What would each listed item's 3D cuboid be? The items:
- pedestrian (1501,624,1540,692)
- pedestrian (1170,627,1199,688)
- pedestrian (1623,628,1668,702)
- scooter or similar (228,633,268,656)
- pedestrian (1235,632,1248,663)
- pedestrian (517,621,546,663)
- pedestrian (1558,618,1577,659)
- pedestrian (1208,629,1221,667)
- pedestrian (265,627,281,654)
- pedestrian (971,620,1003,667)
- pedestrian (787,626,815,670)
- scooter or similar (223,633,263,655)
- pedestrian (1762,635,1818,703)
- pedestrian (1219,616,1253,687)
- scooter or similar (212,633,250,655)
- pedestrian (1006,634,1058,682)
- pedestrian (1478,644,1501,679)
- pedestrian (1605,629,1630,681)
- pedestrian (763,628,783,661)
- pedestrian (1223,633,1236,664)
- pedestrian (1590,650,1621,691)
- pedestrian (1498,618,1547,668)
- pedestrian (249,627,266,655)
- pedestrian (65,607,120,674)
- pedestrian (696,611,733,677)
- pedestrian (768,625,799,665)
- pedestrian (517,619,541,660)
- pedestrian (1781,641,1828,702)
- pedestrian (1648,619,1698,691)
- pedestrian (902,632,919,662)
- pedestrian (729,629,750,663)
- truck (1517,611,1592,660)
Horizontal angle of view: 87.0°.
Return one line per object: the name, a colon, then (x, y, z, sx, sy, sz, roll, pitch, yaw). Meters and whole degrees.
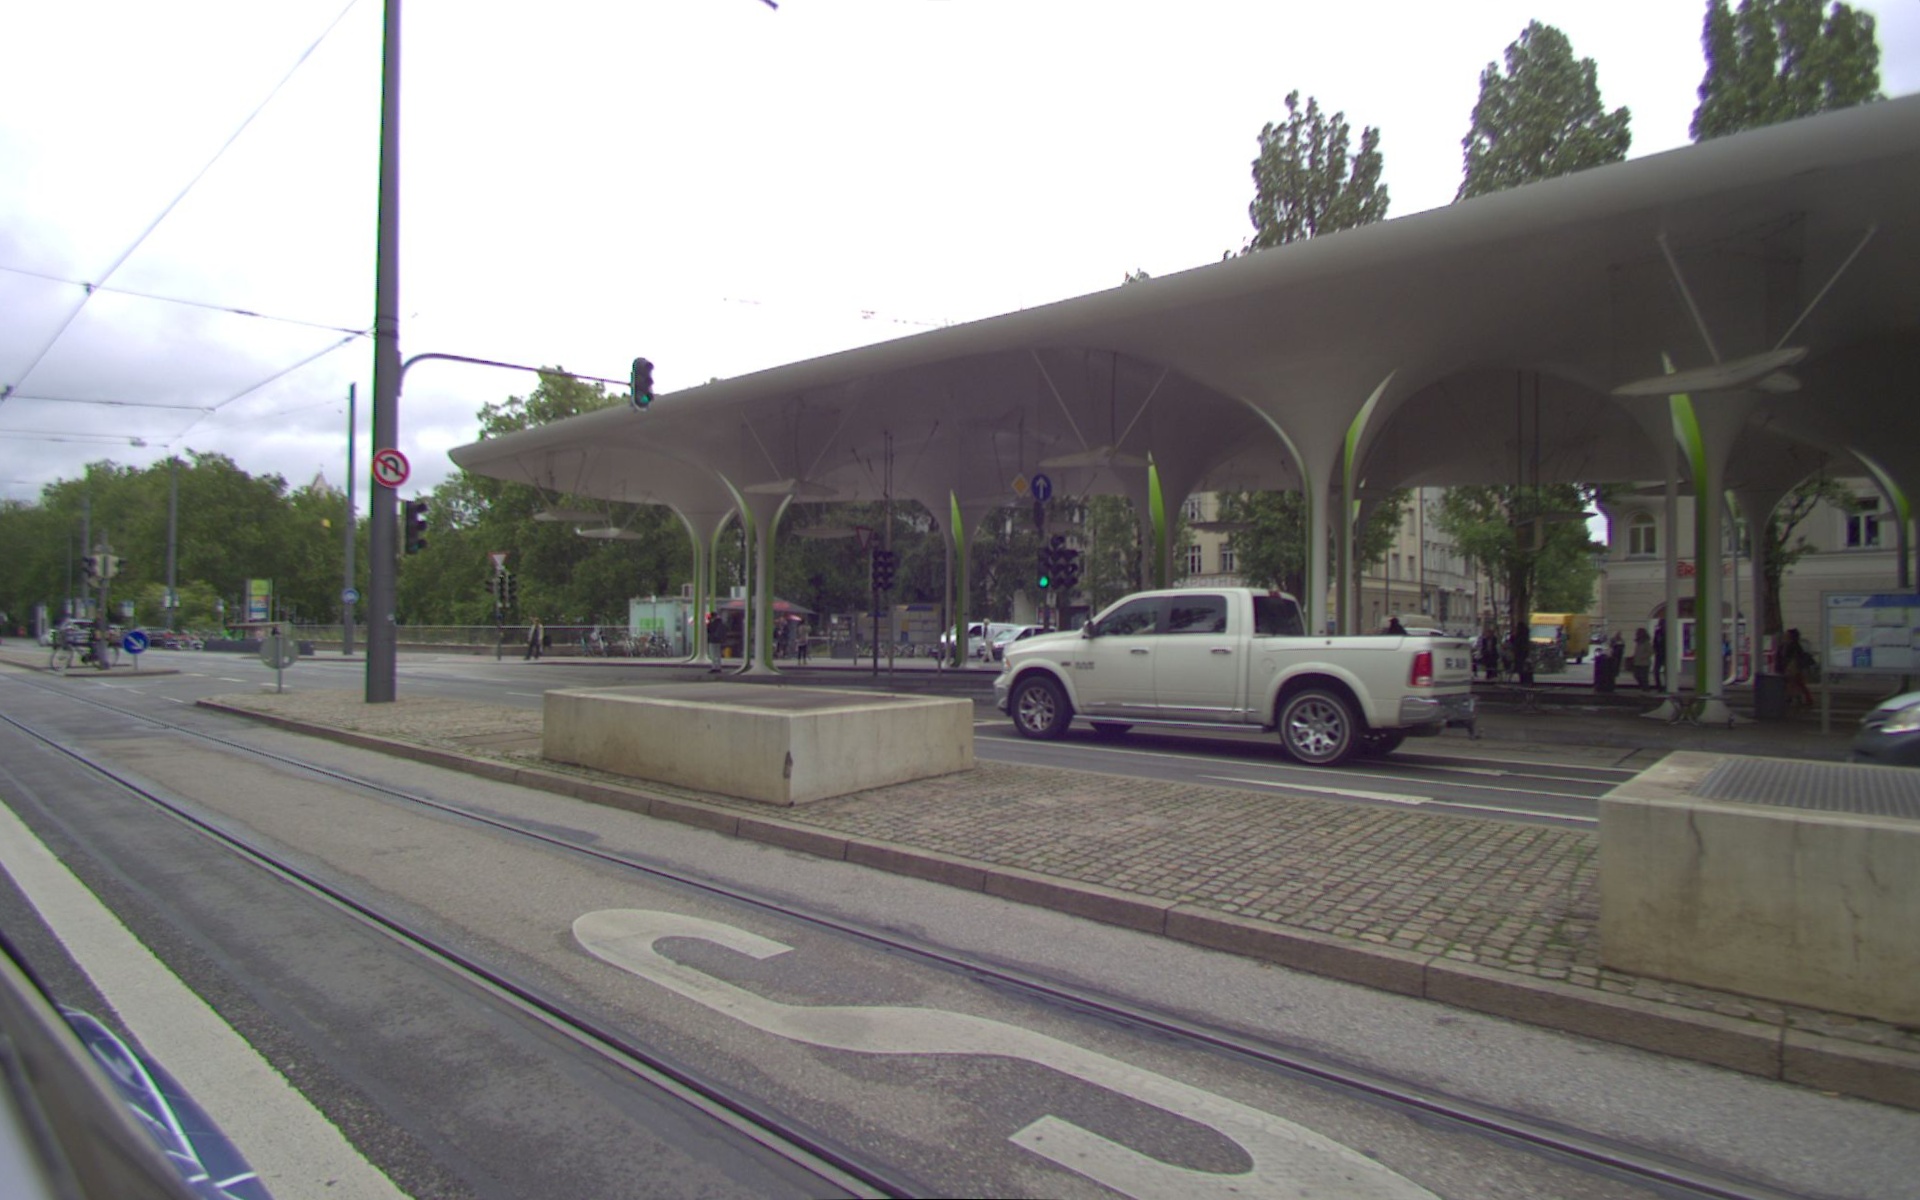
pedestrian: (13.225, 1.358, 23.884, 0.637, 1.576, 0.660, 0, -2, 16)
pedestrian: (5.839, 1.481, 26.280, 0.633, 1.557, 0.589, -1, -2, 24)
pedestrian: (15.444, 1.451, 22.803, 0.639, 1.630, 0.700, 2, -3, -45)
scooter or similar: (-38.404, 2.396, 54.584, 0.561, 1.181, 1.671, -2, -2, 38)
pedestrian: (15.157, 2.554, 54.564, 0.457, 1.638, 0.575, -1, 0, 38)
pedestrian: (-16.850, 1.655, 39.791, 0.737, 1.641, 0.734, -1, -2, 20)
pedestrian: (30.059, 1.905, 50.076, 0.659, 2.029, 0.573, 2, -2, -41)
pedestrian: (13.726, 2.589, 54.515, 0.457, 2.029, 0.575, -2, 0, 38)
pedestrian: (-39.849, 2.341, 58.716, 0.588, 1.570, 0.624, -2, -3, 40)
pedestrian: (1.200, 1.899, 44.483, 0.989, 2.029, 1.029, 2, -2, -41)
pedestrian: (-5.894, 1.760, 37.579, 0.831, 1.622, 0.745, 0, -2, 12)
scooter or similar: (-39.256, 2.416, 55.408, 0.561, 1.181, 1.671, -2, -2, 38)
pedestrian: (18.929, 1.558, 23.113, 0.894, 1.520, 0.737, -1, -2, 34)
pedestrian: (6.891, 1.272, 25.287, 0.663, 1.741, 0.809, 0, -2, 3)
scooter or similar: (-40.923, 2.457, 56.811, 0.558, 1.181, 1.681, -1, -2, 22)
pedestrian: (1.933, 1.550, 27.320, 0.799, 1.239, 1.274, 1, -2, -30)
pedestrian: (16.876, 1.963, 32.241, 0.576, 1.092, 0.512, -1, -2, 34)
pedestrian: (23.579, 1.964, 36.282, 0.549, 1.828, 0.556, 1, -2, -37)
pedestrian: (-9.222, 2.188, 49.854, 0.728, 1.612, 0.799, 1, -2, -34)
pedestrian: (14.387, 2.573, 54.071, 0.457, 1.638, 0.575, -1, 0, 38)
pedestrian: (16.122, 1.754, 25.291, 0.509, 0.996, 0.456, 0, -2, 15)
pedestrian: (13.811, 1.040, 24.840, 0.877, 1.163, 0.902, -1, 0, 41)
pedestrian: (-40.253, 2.351, 58.019, 0.588, 1.570, 0.624, -2, -3, 40)
pedestrian: (-24.022, 1.110, 28.022, 0.892, 1.825, 0.854, 0, -1, 24)
pedestrian: (-6.992, 1.246, 28.835, 0.801, 1.853, 0.664, 0, -2, 9)
pedestrian: (-7.974, 2.019, 45.664, 0.957, 1.776, 1.018, -2, -2, 41)
pedestrian: (-18.497, 1.703, 43.429, 0.725, 1.729, 0.862, 1, -2, -38)
pedestrian: (18.276, 1.536, 21.897, 0.510, 1.275, 0.577, 1, -2, -21)
pedestrian: (17.125, 1.311, 24.310, 0.689, 1.709, 0.650, 0, -2, -8)
pedestrian: (-2.648, 2.491, 54.116, 0.636, 1.594, 0.627, -1, -2, 41)
pedestrian: (-10.625, 2.222, 48.836, 0.728, 1.612, 0.799, 1, -2, -34)
truck: (32.901, 1.974, 55.881, 2.438, 2.532, 7.088, -1, -2, 40)
